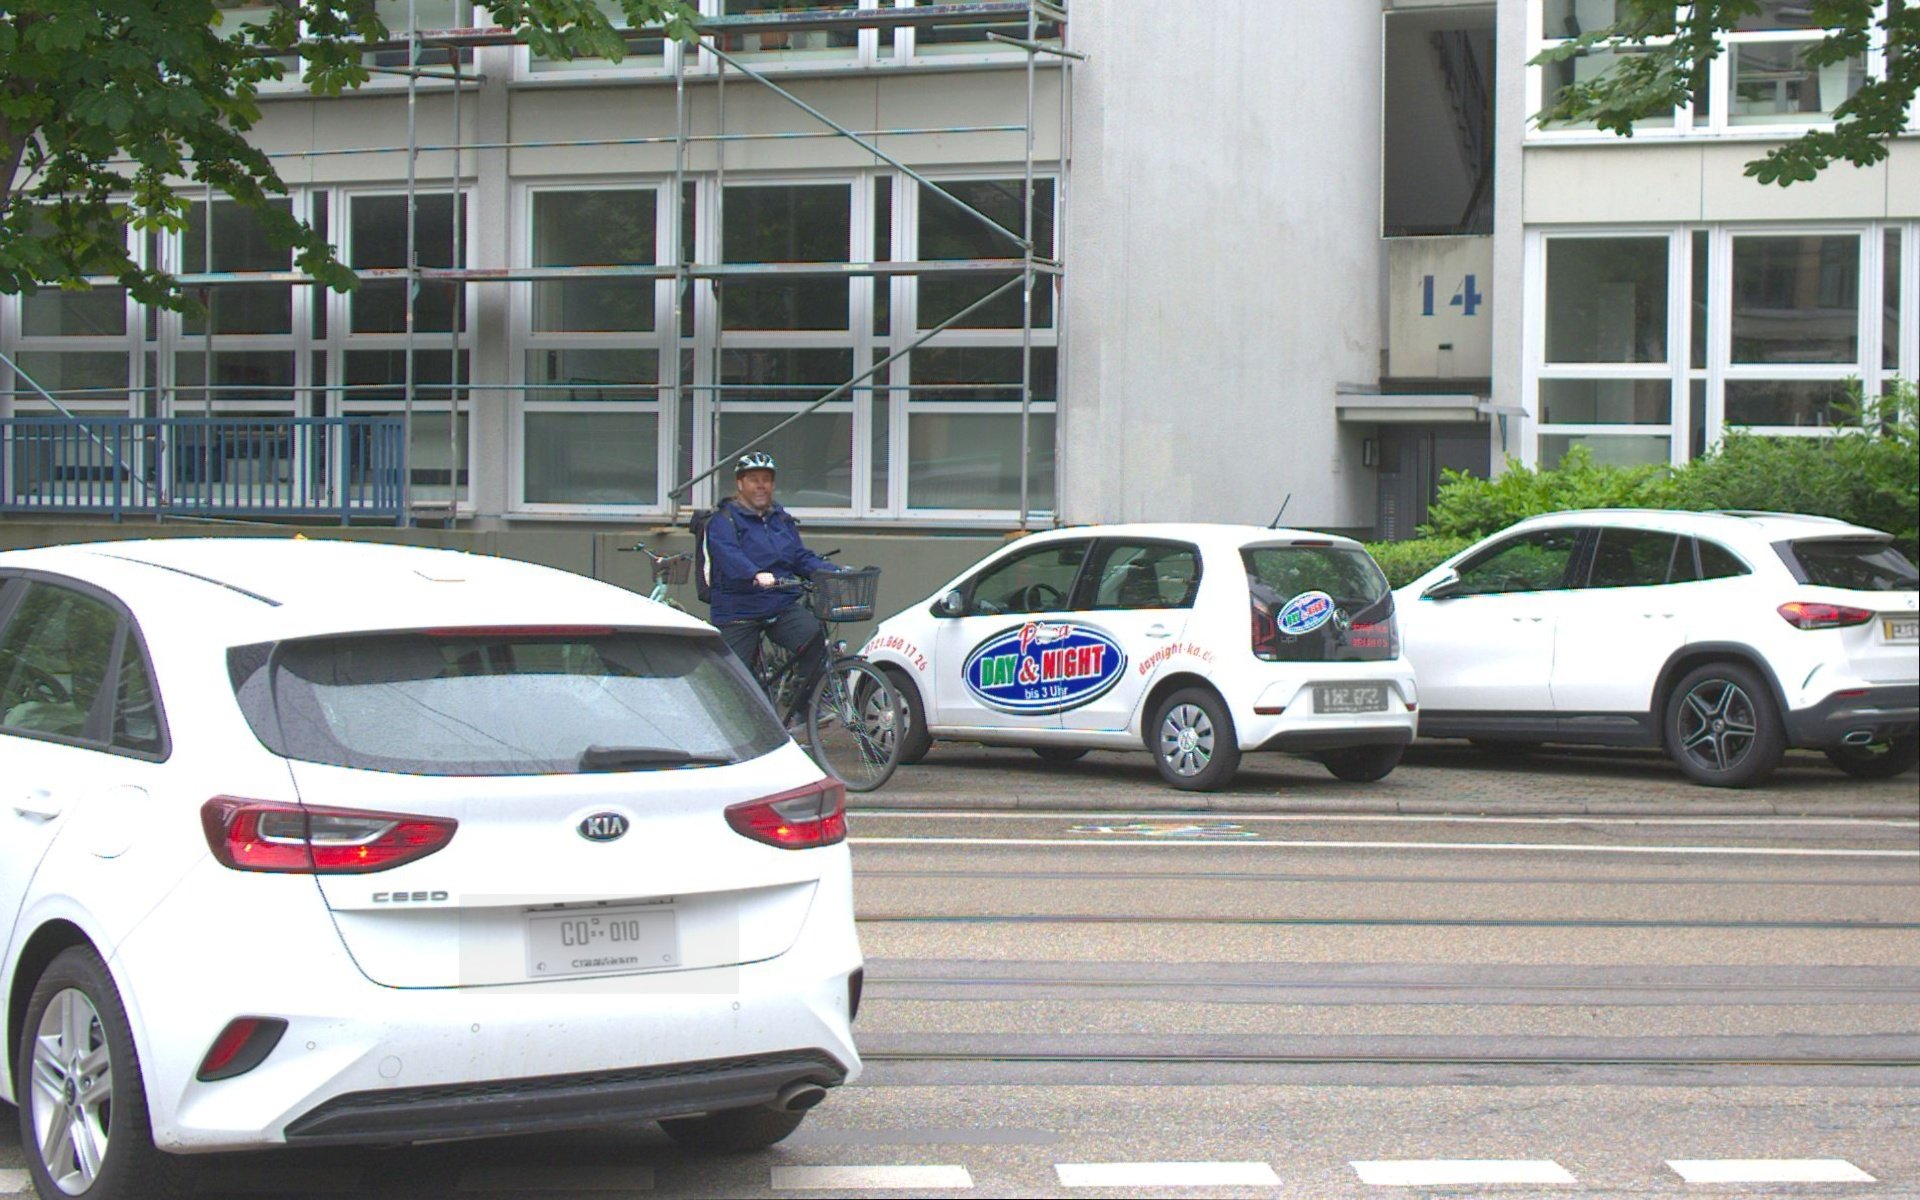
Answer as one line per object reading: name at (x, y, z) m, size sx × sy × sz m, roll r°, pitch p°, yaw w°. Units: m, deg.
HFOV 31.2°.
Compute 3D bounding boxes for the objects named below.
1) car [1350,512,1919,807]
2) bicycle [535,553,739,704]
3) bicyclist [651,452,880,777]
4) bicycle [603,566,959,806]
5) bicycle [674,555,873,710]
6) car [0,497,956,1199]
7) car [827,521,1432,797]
car at (4.158, 0.282, 20.606) m, size 1.552 × 1.612 × 3.406 m, roll -1°, pitch 2°, yaw -44°
bicycle at (-2.463, 0.191, 26.498) m, size 0.645 × 1.071 × 2.310 m, roll 1°, pitch 2°, yaw 20°
bicyclist at (-1.053, 0.058, 18.542) m, size 0.896 × 1.692 × 0.832 m, roll 2°, pitch 2°, yaw 45°
bicycle at (-0.982, 0.431, 18.479) m, size 1.914 × 1.170 × 0.819 m, roll 2°, pitch 2°, yaw 44°
bicycle at (-1.379, 0.220, 25.951) m, size 0.645 × 1.071 × 2.310 m, roll 1°, pitch 2°, yaw 20°
car at (-1.910, 0.560, 8.618) m, size 1.776 × 1.427 × 3.979 m, roll -3°, pitch 5°, yaw -36°
car at (0.935, 0.275, 20.176) m, size 1.552 × 1.468 × 3.406 m, roll -1°, pitch 2°, yaw -44°
